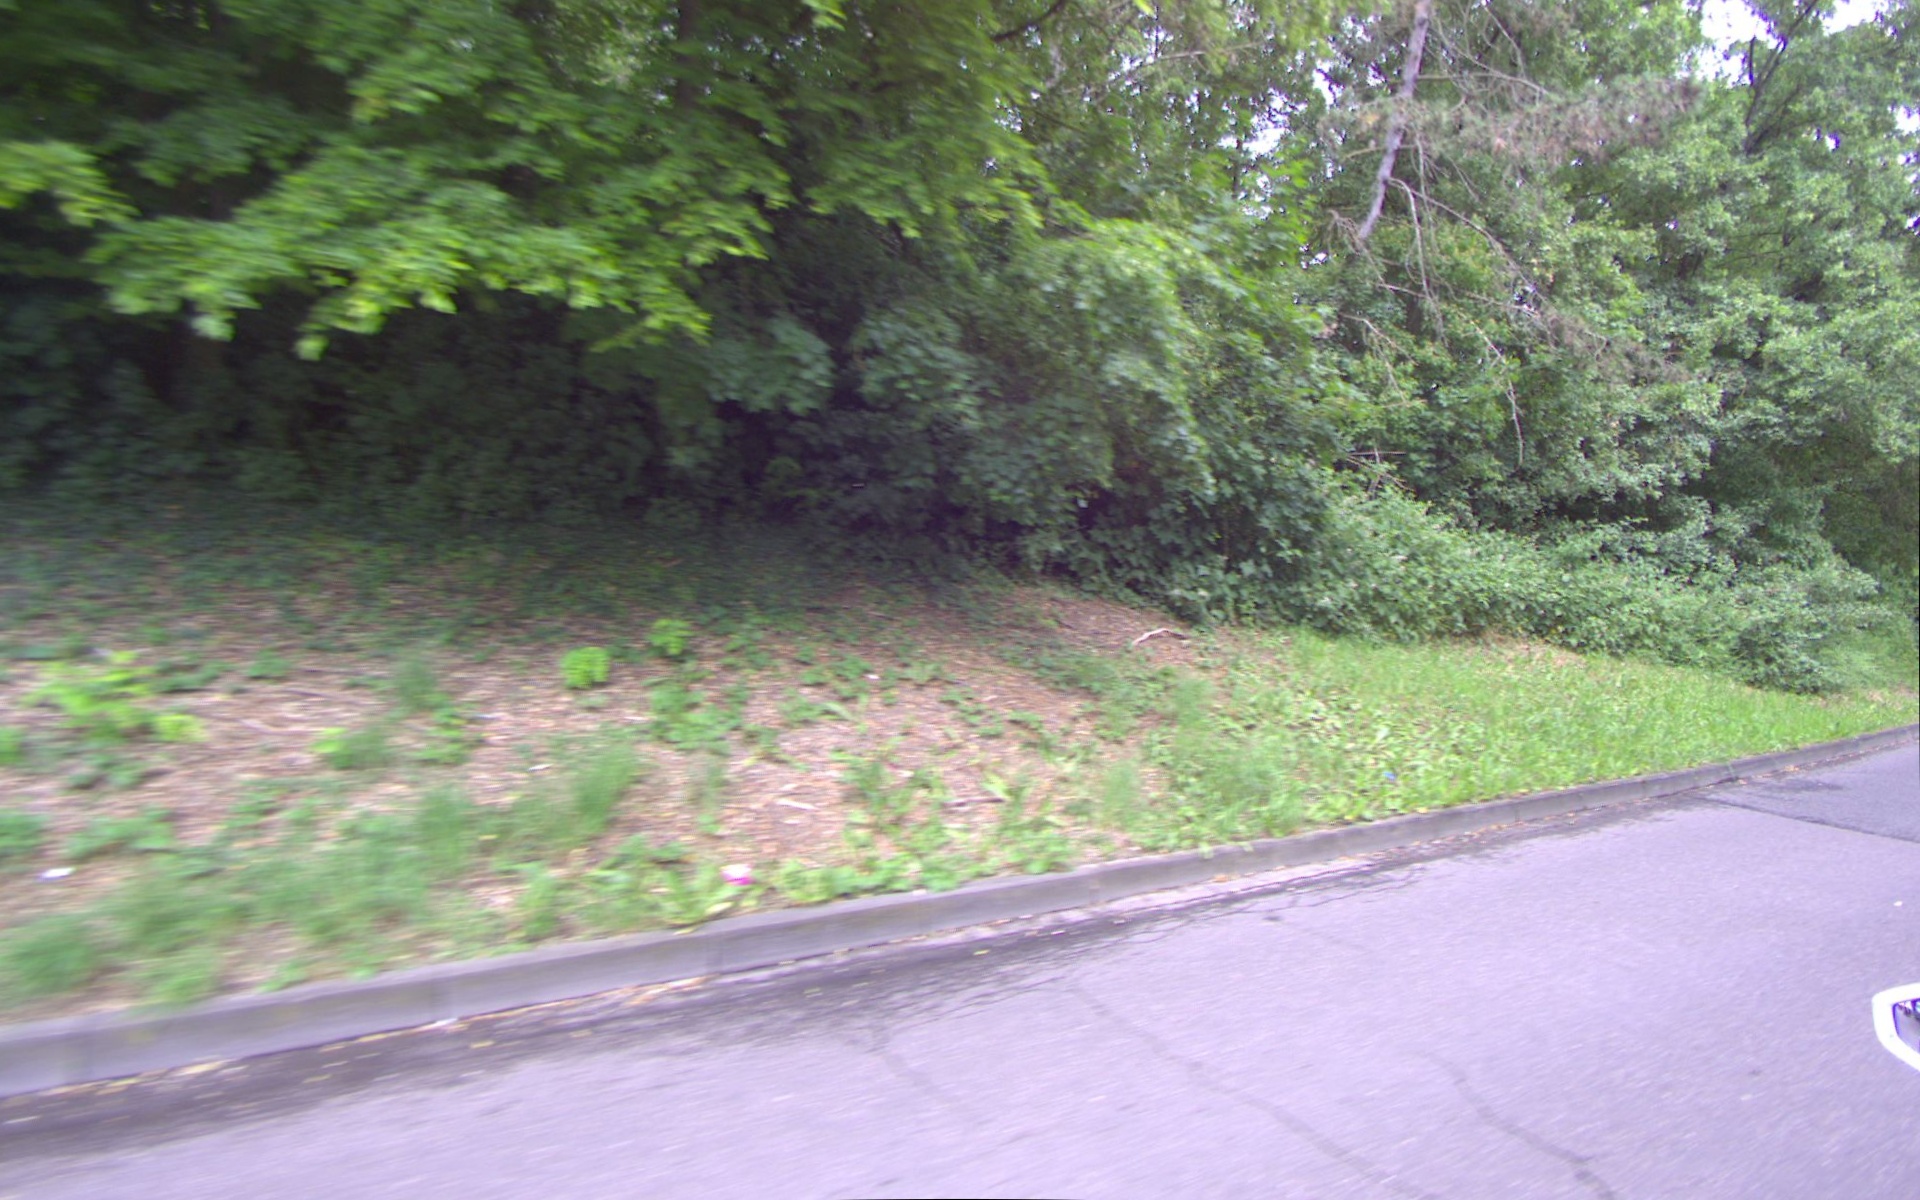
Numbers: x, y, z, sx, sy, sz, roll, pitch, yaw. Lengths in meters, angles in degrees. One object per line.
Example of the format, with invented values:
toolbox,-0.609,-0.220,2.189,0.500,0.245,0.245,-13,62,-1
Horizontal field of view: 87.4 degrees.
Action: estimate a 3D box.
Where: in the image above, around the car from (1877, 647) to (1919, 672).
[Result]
car,63.812,4.025,67.410,1.961,1.492,3.999,4,1,21
